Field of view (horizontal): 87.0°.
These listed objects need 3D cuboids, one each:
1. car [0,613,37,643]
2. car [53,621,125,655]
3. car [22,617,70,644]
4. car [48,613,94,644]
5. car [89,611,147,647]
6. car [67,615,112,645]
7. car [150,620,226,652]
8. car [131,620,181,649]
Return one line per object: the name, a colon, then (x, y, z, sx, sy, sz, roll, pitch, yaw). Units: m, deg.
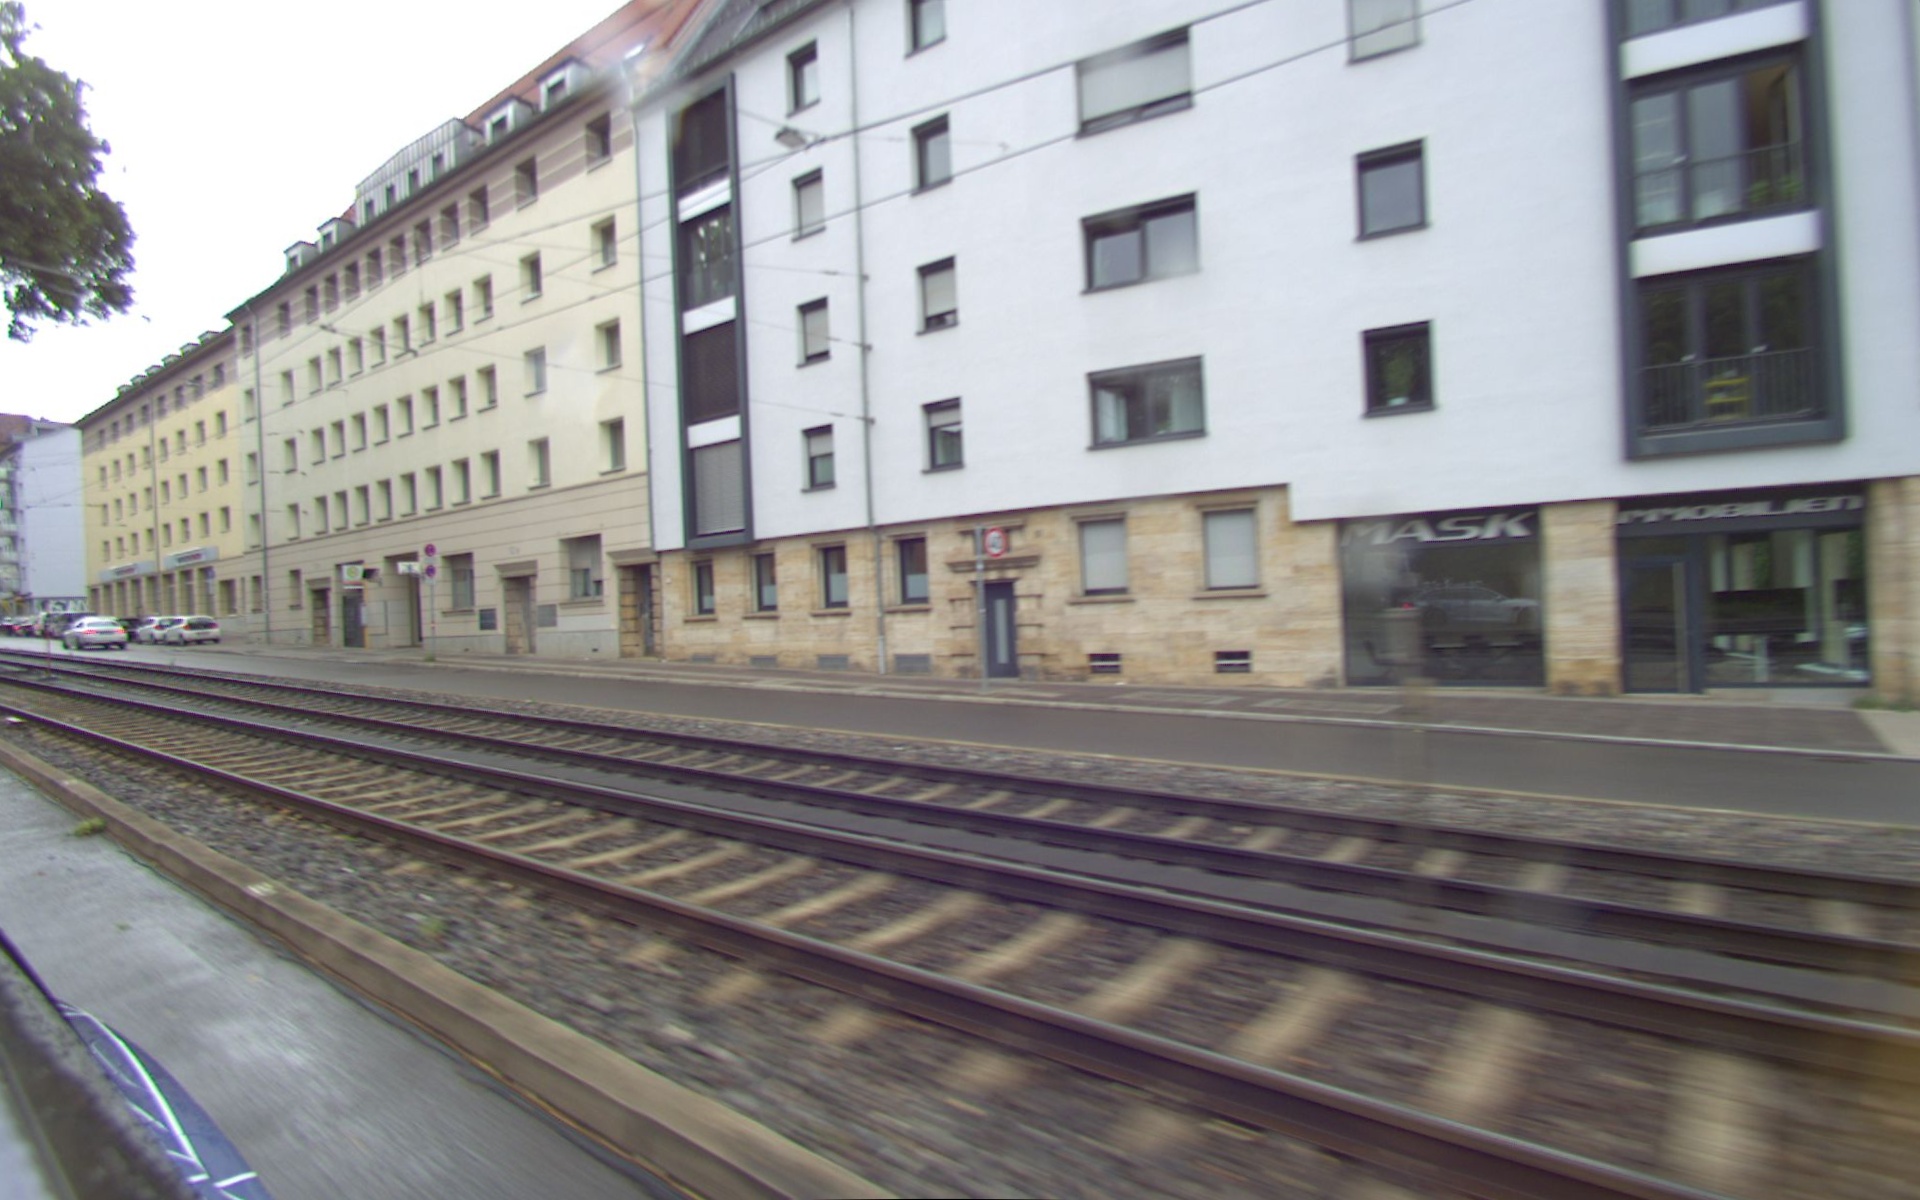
car: (-66.842, 1.926, 71.215, 4.218, 2.029, 2.007, -1, -1, 36)
car: (-41.979, 1.797, 48.742, 5.009, 1.548, 1.671, -1, -1, 37)
car: (-62.069, 2.048, 68.715, 3.584, 1.822, 1.707, -1, -1, 36)
car: (-56.852, 1.819, 64.699, 4.036, 1.897, 1.538, -1, -1, 39)
car: (-48.814, 1.661, 58.654, 4.293, 1.975, 1.708, -1, -1, 38)
car: (-53.287, 1.830, 61.936, 3.399, 1.766, 1.361, -1, -1, 36)
car: (-39.565, 1.821, 51.848, 3.991, 1.554, 2.007, -1, -1, 35)
car: (-43.274, 1.840, 54.449, 3.184, 1.495, 1.311, -1, -1, 36)
